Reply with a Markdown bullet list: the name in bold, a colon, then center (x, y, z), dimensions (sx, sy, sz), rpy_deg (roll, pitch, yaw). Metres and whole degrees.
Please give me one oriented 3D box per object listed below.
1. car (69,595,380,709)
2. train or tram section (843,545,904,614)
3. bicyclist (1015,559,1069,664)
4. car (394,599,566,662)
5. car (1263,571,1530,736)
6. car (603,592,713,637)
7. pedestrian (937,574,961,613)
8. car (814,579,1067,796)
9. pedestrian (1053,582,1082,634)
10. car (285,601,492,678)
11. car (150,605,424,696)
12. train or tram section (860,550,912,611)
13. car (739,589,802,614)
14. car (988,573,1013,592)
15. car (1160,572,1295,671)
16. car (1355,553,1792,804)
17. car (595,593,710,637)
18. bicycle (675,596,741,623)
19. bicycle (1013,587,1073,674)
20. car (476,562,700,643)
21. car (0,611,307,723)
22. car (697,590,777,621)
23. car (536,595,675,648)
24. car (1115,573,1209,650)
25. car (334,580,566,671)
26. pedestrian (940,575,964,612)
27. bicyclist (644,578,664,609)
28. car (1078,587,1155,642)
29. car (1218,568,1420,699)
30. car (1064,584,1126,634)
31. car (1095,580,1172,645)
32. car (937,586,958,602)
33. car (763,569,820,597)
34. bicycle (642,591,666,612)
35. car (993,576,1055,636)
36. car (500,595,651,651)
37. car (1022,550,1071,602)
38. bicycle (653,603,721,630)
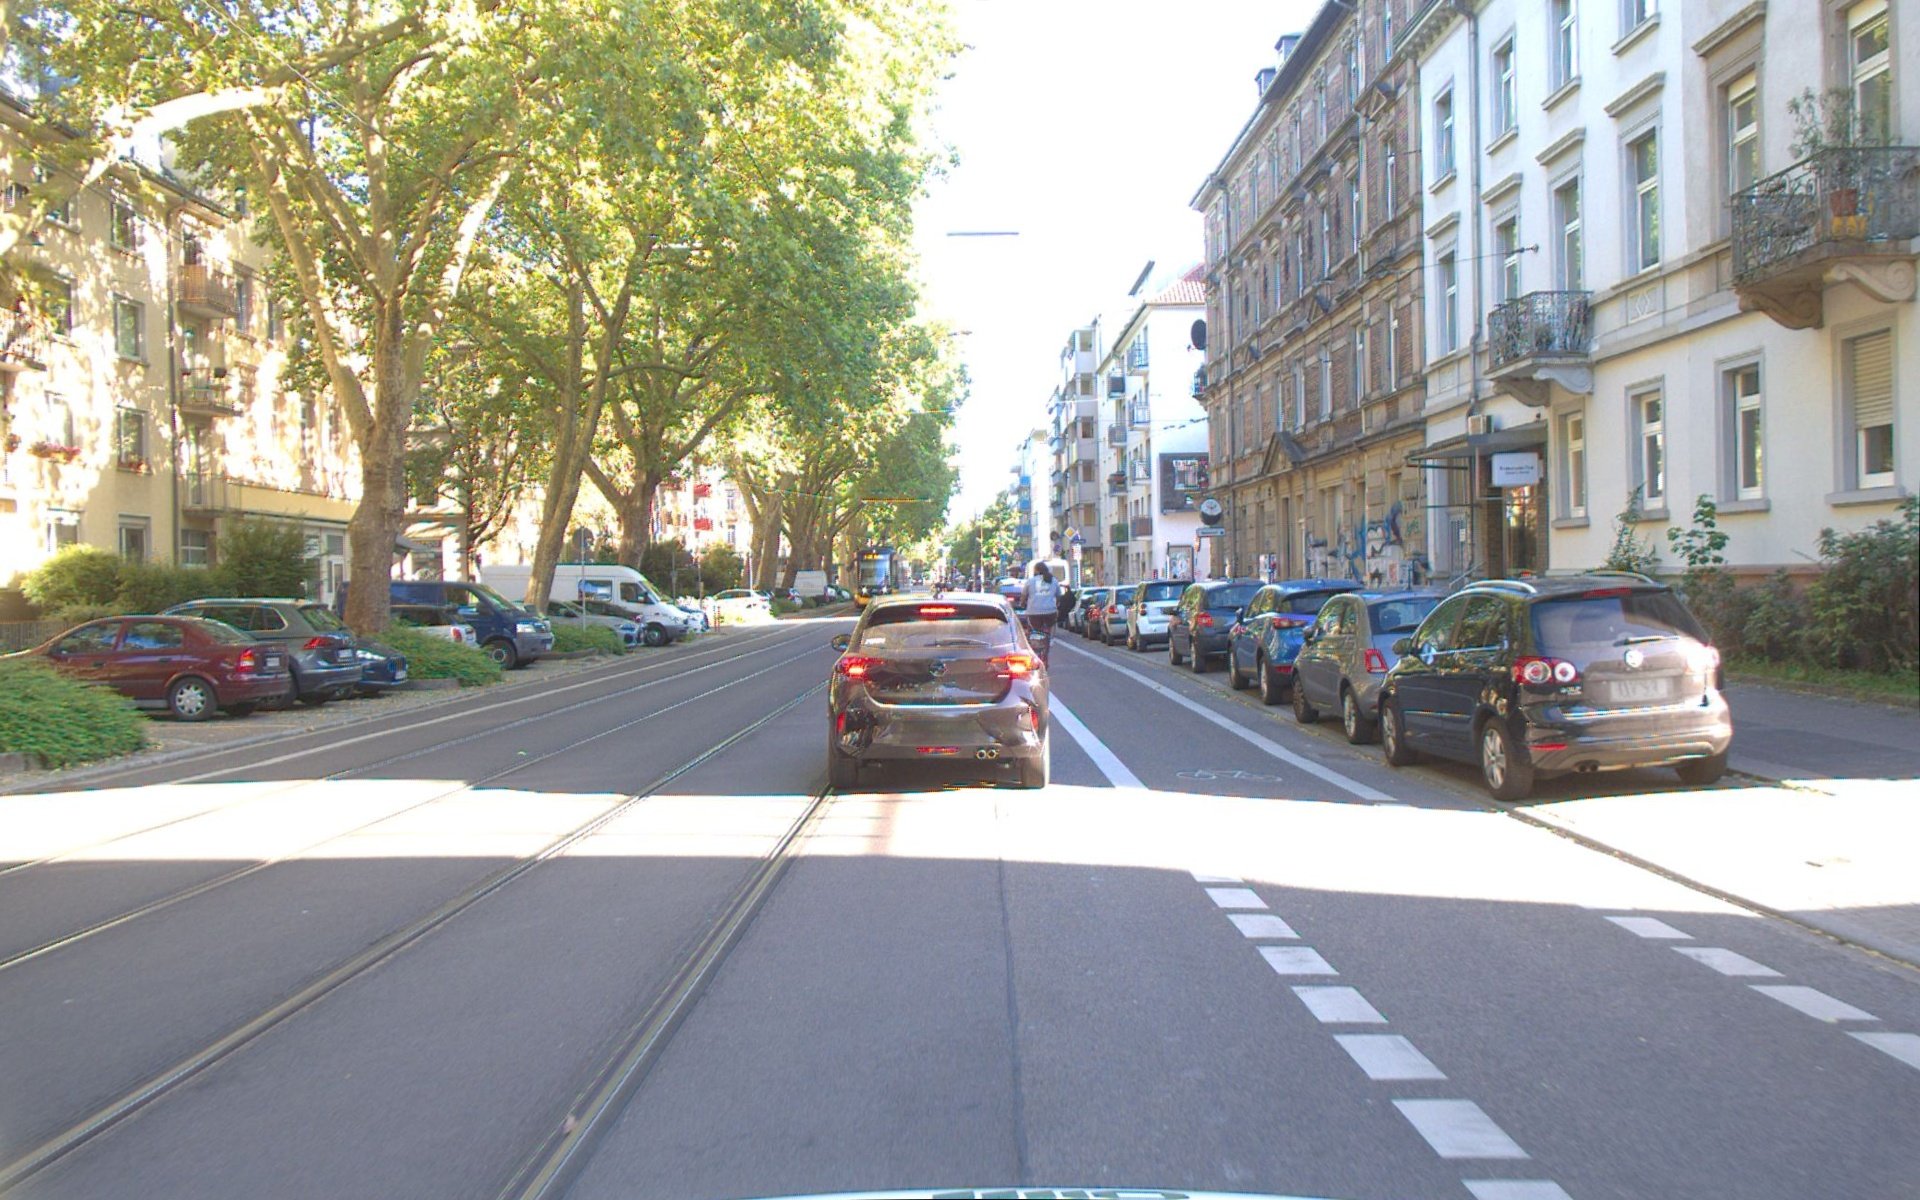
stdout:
- **car**: center (-11.191, 0.772, 25.364), dimensions (3.913, 1.655, 1.879), rpy_deg (0, 0, -1)
- **train or tram section**: center (-5.004, -1.180, 97.594), dimensions (2.678, 3.746, 12.717), rpy_deg (-2, 0, 1)
- **bicyclist**: center (1.415, 0.191, 28.747), dimensions (0.831, 1.770, 1.161), rpy_deg (-1, 0, -2)
- **car**: center (-11.526, 0.724, 39.894), dimensions (3.658, 1.455, 1.637), rpy_deg (0, 0, -1)
- **car**: center (4.637, 0.512, 18.146), dimensions (1.763, 1.481, 3.767), rpy_deg (-5, 0, -1)
- **car**: center (-11.177, 0.524, 61.390), dimensions (3.842, 1.605, 1.676), rpy_deg (0, 0, -3)
- **pedestrian**: center (-0.453, -0.276, 69.922), dimensions (0.669, 1.594, 0.764), rpy_deg (-1, 0, 41)
- **car**: center (-0.155, 0.589, 13.370), dimensions (1.757, 1.466, 3.531), rpy_deg (-1, 1, -1)
- **pedestrian**: center (3.343, 0.250, 51.289), dimensions (0.848, 1.594, 0.768), rpy_deg (-1, 0, 1)
- **car**: center (-11.783, 0.798, 34.260), dimensions (3.658, 1.524, 1.746), rpy_deg (0, 0, -1)
- **car**: center (-11.219, 0.827, 27.769), dimensions (3.841, 1.446, 1.818), rpy_deg (0, 0, -2)
- **train or tram section**: center (-4.827, -1.293, 110.225), dimensions (2.678, 3.746, 12.717), rpy_deg (-2, 0, 1)
- **car**: center (-11.962, 0.080, 104.365), dimensions (3.842, 1.524, 1.676), rpy_deg (0, 0, -3)
- **car**: center (3.195, -1.364, 130.796), dimensions (1.773, 1.361, 3.933), rpy_deg (-5, 0, 1)
- **car**: center (4.623, 0.338, 29.066), dimensions (1.676, 1.509, 3.764), rpy_deg (-5, 0, 0)
- **car**: center (4.794, 0.541, 13.605), dimensions (1.843, 1.613, 3.930), rpy_deg (-5, 0, -4)
- **car**: center (-10.928, 0.528, 58.927), dimensions (3.842, 1.524, 1.676), rpy_deg (0, 0, -3)
- **bicycle**: center (-11.689, 0.430, 76.843), dimensions (2.880, 1.190, 0.991), rpy_deg (-1, 0, 16)
- **bicycle**: center (1.421, 0.498, 28.751), dimensions (0.843, 1.431, 2.523), rpy_deg (-1, 0, -2)
- **car**: center (-11.676, 0.068, 52.285), dimensions (6.492, 2.451, 2.458), rpy_deg (0, 0, -1)
- **car**: center (-11.403, 0.909, 23.115), dimensions (3.840, 1.467, 1.749), rpy_deg (0, 0, 0)
- **car**: center (-11.207, 0.285, 83.352), dimensions (3.842, 1.524, 1.676), rpy_deg (0, 0, -3)
- **car**: center (-10.638, 0.637, 49.799), dimensions (3.842, 1.524, 1.676), rpy_deg (0, 0, -3)
- **car**: center (4.564, 0.245, 37.660), dimensions (1.536, 1.543, 3.039), rpy_deg (-5, 0, -3)
- **car**: center (-11.396, 0.554, 37.189), dimensions (4.579, 1.957, 1.980), rpy_deg (0, 0, 1)
- **pedestrian**: center (-0.340, -0.284, 70.738), dimensions (0.669, 1.594, 0.764), rpy_deg (-1, 0, 41)
- **bicyclist**: center (-17.806, -0.375, 96.115), dimensions (0.967, 1.787, 1.154), rpy_deg (-1, 0, -2)
- **car**: center (4.402, 0.376, 47.044), dimensions (1.773, 1.361, 3.933), rpy_deg (-5, 0, 1)
- **car**: center (4.777, 0.402, 22.586), dimensions (1.842, 1.481, 4.026), rpy_deg (-5, 0, 1)
- **car**: center (4.349, 0.263, 53.769), dimensions (1.628, 1.444, 3.933), rpy_deg (-5, 0, 1)
- **car**: center (4.445, 0.290, 42.712), dimensions (1.670, 1.481, 3.699), rpy_deg (-5, 0, 3)
- **car**: center (-1.167, -0.573, 147.712), dimensions (1.773, 1.361, 3.932), rpy_deg (-1, 0, -2)
- **car**: center (-11.577, -1.166, 113.755), dimensions (3.842, 1.821, 1.676), rpy_deg (0, 0, -3)
- **bicycle**: center (-17.783, 0.064, 96.135), dimensions (0.967, 1.190, 2.951), rpy_deg (-1, 0, -2)
- **car**: center (1.954, 0.160, 51.281), dimensions (1.772, 1.772, 3.933), rpy_deg (-1, 0, 1)
- **car**: center (-10.809, 0.626, 46.626), dimensions (3.839, 1.524, 1.677), rpy_deg (0, 0, 1)
- **car**: center (4.158, -1.153, 80.299), dimensions (2.033, 2.257, 4.934), rpy_deg (-4, 0, 1)
- **bicycle**: center (-12.315, 0.753, 74.715), dimensions (2.880, 1.190, 0.991), rpy_deg (-1, 0, 16)
